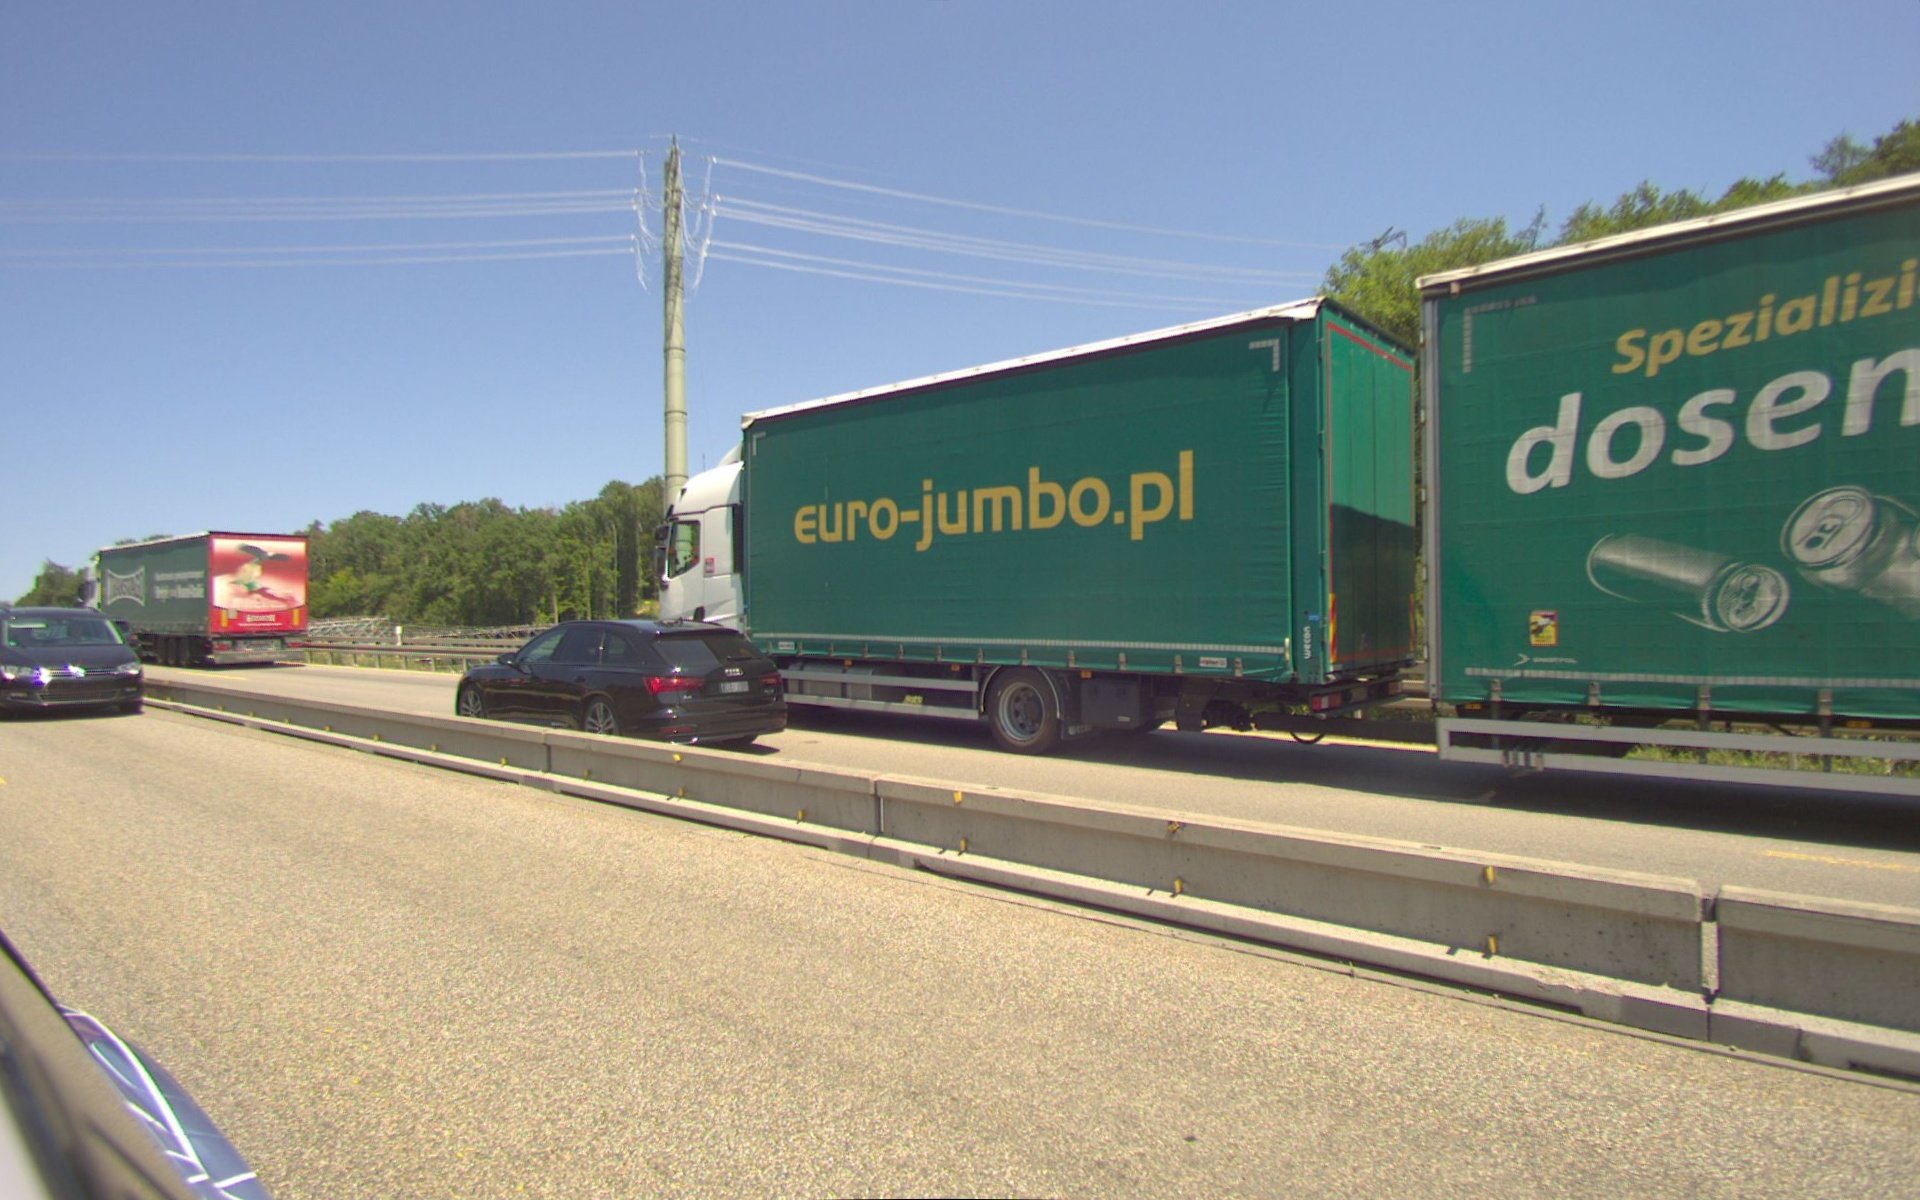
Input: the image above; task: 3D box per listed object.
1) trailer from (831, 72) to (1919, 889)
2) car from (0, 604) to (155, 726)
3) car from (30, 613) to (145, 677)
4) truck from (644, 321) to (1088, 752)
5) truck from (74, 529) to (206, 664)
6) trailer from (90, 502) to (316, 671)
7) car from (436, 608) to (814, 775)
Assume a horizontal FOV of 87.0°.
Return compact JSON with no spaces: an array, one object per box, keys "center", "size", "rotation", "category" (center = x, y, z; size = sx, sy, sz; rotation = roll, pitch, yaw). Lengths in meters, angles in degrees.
[{"center":[4.837,-0.677,8.241],"size":[14.575,4.676,2.804],"rotation":[0,0,42],"category":"trailer"},{"center":[-15.001,0.989,16.590],"size":[5.299,1.719,1.838],"rotation":[-2,-2,40],"category":"car"},{"center":[-24.879,1.238,28.805],"size":[4.112,1.694,1.936],"rotation":[-1,-2,42],"category":"car"},{"center":[-1.455,-0.673,13.801],"size":[5.783,4.614,2.817],"rotation":[0,0,40],"category":"truck"},{"center":[-31.765,-0.082,39.179],"size":[4.639,4.858,3.031],"rotation":[-2,-1,38],"category":"truck"},{"center":[-26.276,-0.237,34.636],"size":[13.989,4.852,3.034],"rotation":[-2,-1,40],"category":"trailer"},{"center":[-3.925,0.842,11.389],"size":[4.754,1.473,1.882],"rotation":[0,0,41],"category":"car"}]
